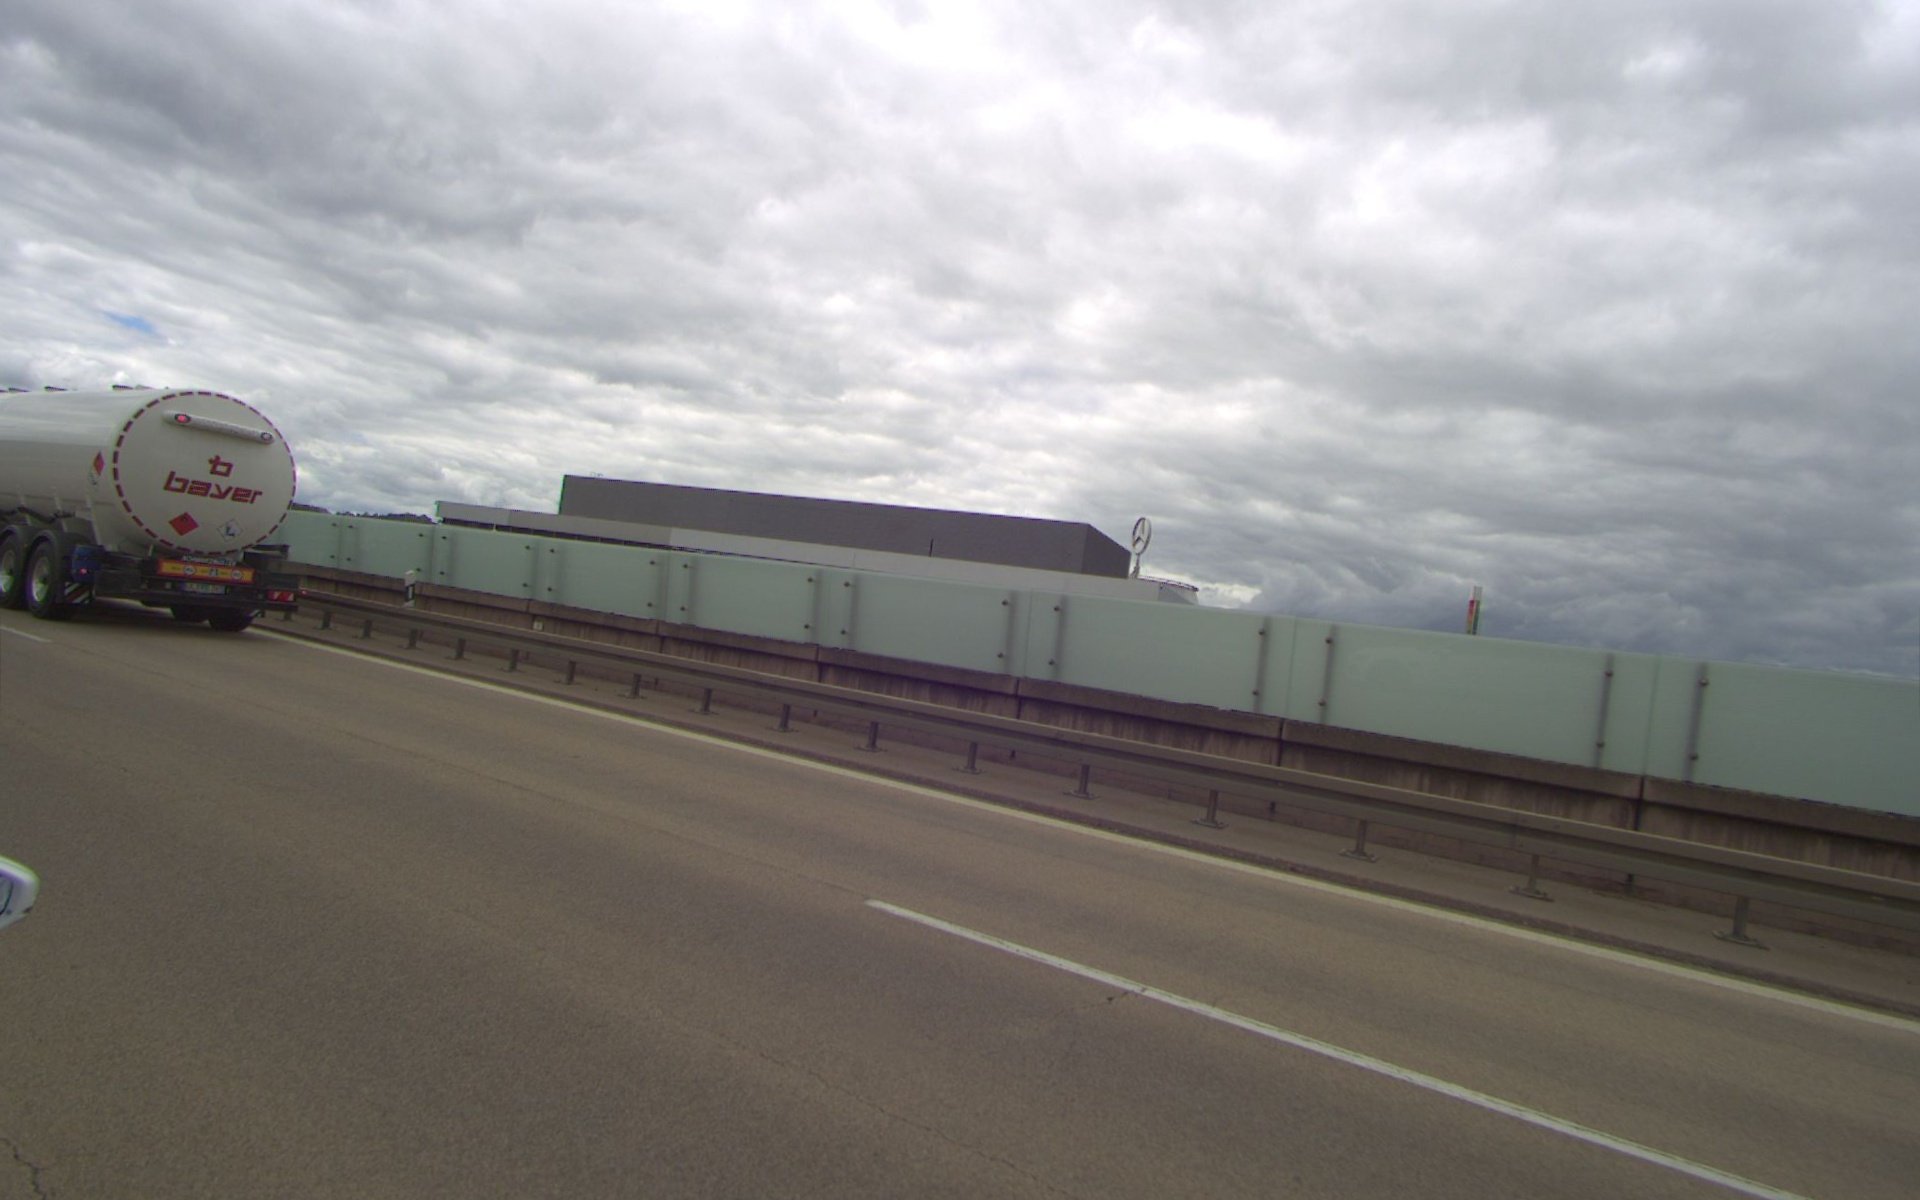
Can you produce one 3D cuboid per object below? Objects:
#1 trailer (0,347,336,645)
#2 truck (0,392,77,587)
[{"bbox_3d":[-14.792,-1.764,16.573,11.033,3.584,2.656,6,-2,31],"label":"trailer"},{"bbox_3d":[-20.433,-2.396,20.050,4.822,3.555,2.636,7,-1,31],"label":"truck"}]
